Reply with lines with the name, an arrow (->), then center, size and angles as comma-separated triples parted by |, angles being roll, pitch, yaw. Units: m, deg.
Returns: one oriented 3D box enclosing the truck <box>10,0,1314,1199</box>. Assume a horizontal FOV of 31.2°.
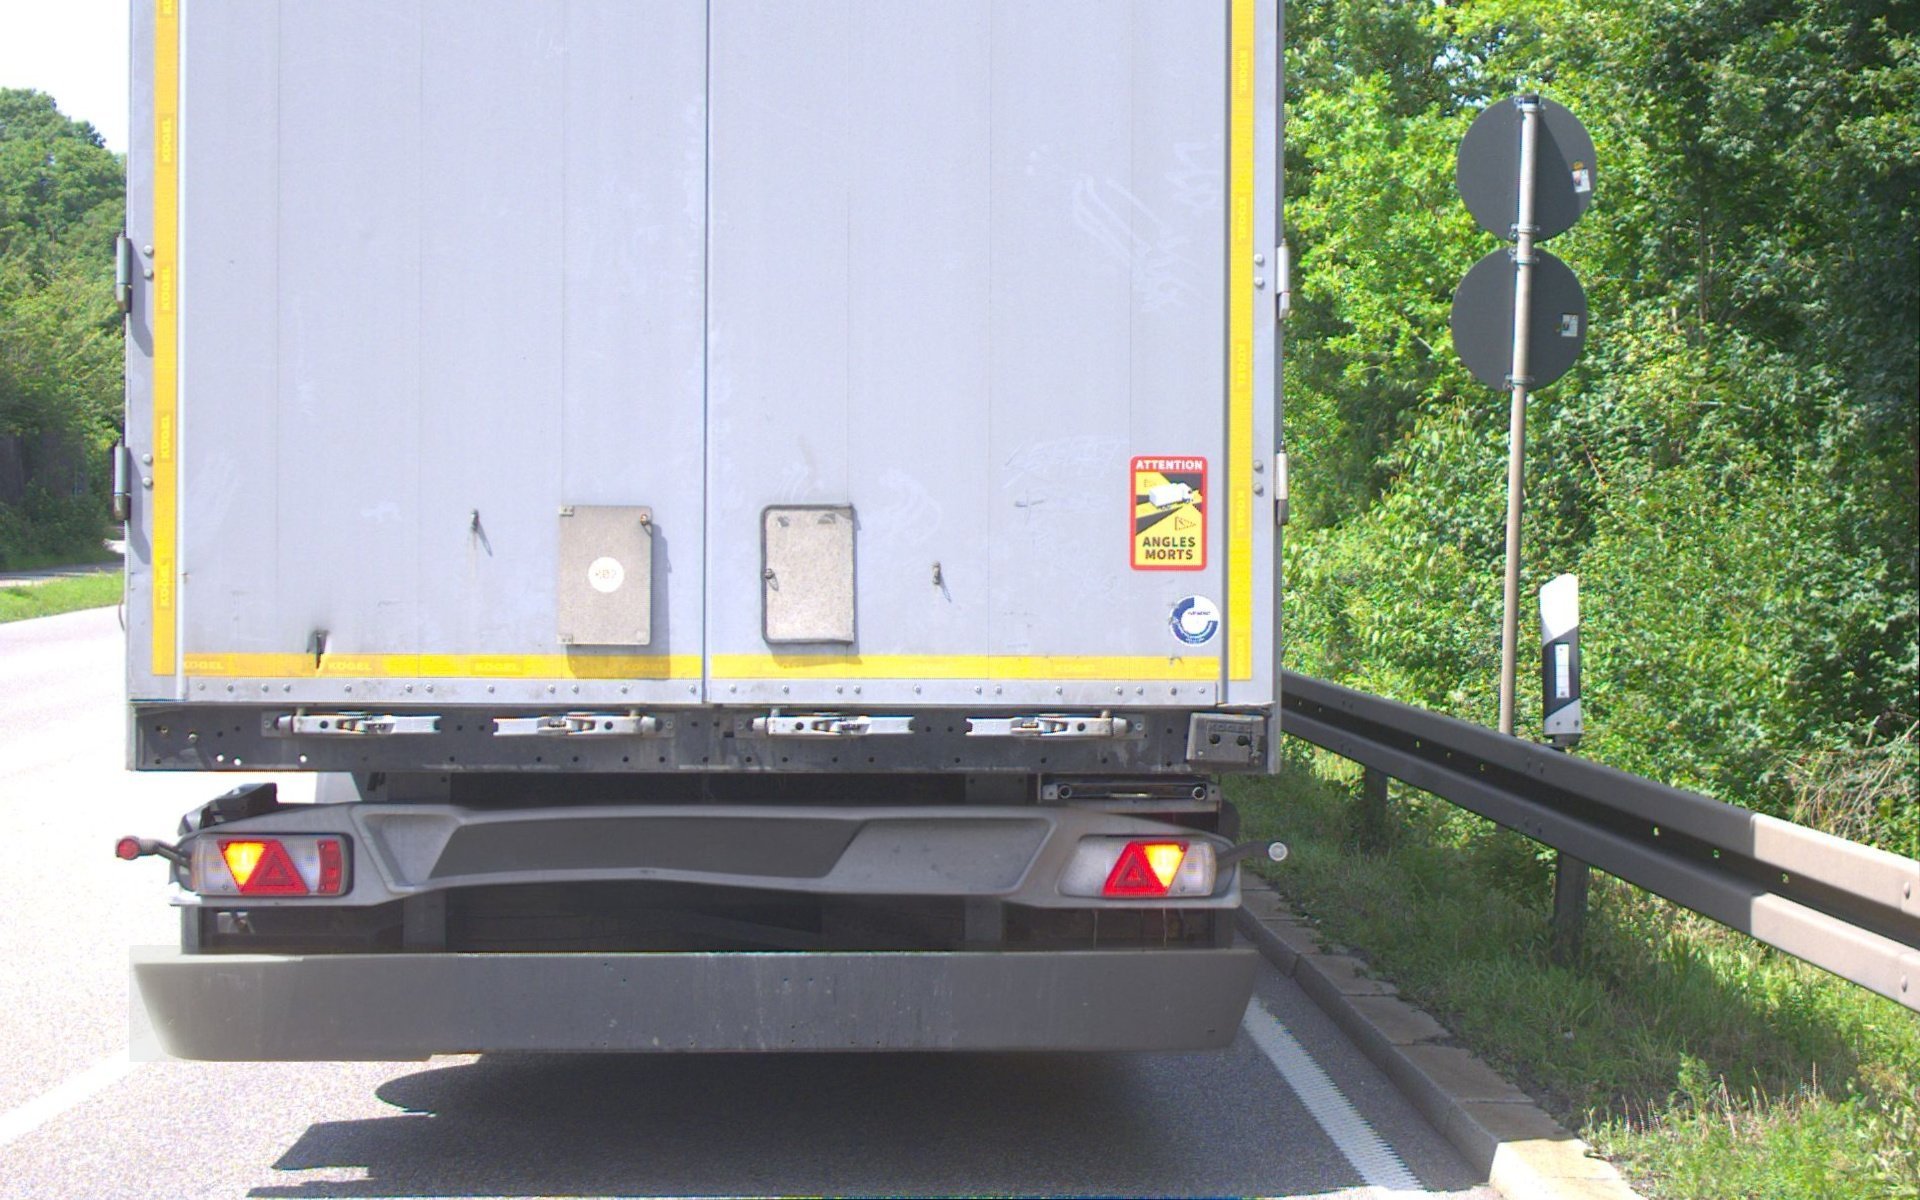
truck -> -0.766, -0.858, 13.269 | 2.757, 4.016, 11.925 | 0, 1, -1
